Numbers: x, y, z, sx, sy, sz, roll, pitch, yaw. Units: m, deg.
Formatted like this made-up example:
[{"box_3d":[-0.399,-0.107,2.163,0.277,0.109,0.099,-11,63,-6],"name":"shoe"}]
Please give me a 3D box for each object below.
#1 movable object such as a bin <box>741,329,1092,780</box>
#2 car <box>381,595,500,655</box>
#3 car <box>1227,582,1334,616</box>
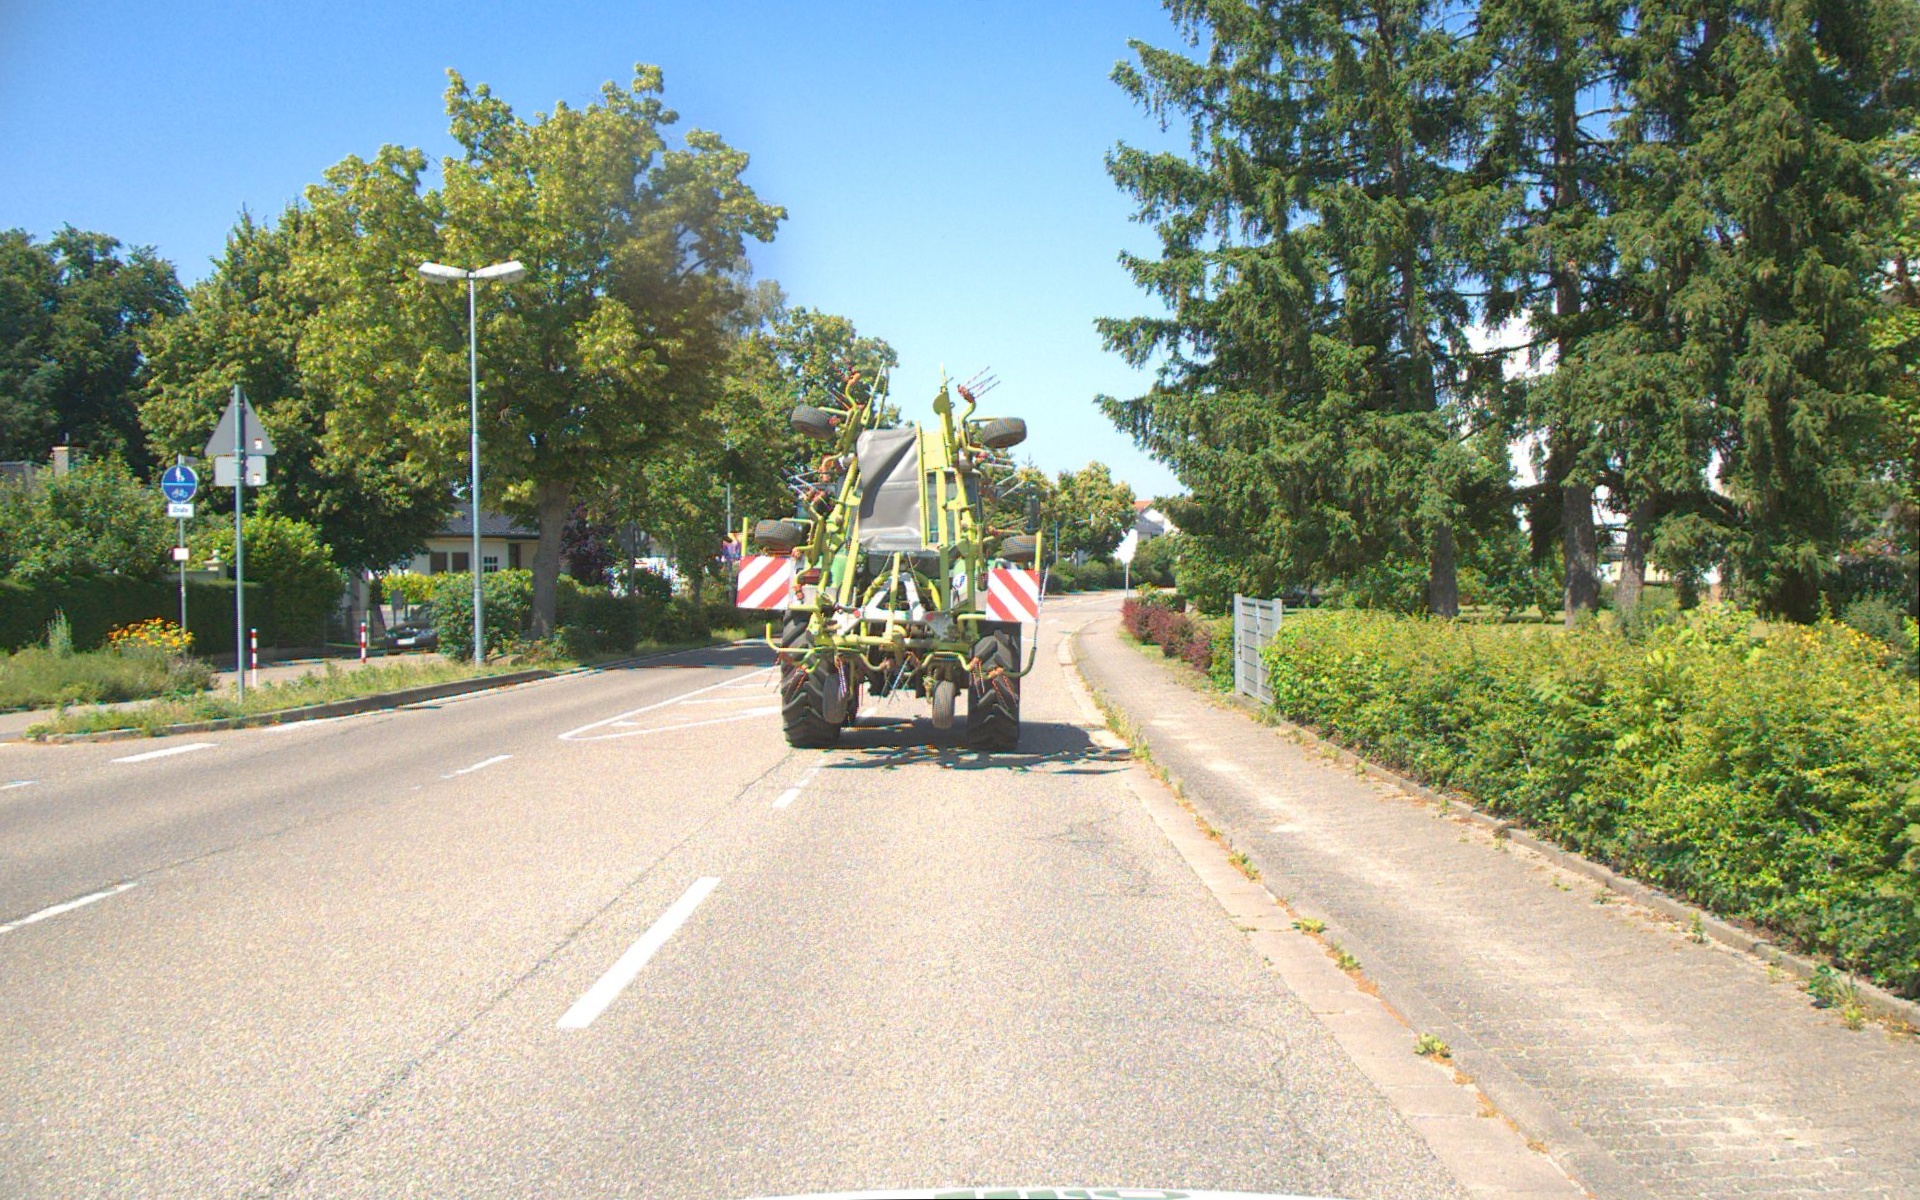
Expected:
[{"box_3d":[-0.345,-0.372,18.096,2.794,3.603,9.700,0,0,0],"name":"movable object such as a bin"},{"box_3d":[-14.043,0.645,44.954,1.652,1.557,4.003,0,0,5],"name":"car"},{"box_3d":[12.533,-0.045,64.745,3.744,1.317,1.679,0,0,-13],"name":"car"}]
